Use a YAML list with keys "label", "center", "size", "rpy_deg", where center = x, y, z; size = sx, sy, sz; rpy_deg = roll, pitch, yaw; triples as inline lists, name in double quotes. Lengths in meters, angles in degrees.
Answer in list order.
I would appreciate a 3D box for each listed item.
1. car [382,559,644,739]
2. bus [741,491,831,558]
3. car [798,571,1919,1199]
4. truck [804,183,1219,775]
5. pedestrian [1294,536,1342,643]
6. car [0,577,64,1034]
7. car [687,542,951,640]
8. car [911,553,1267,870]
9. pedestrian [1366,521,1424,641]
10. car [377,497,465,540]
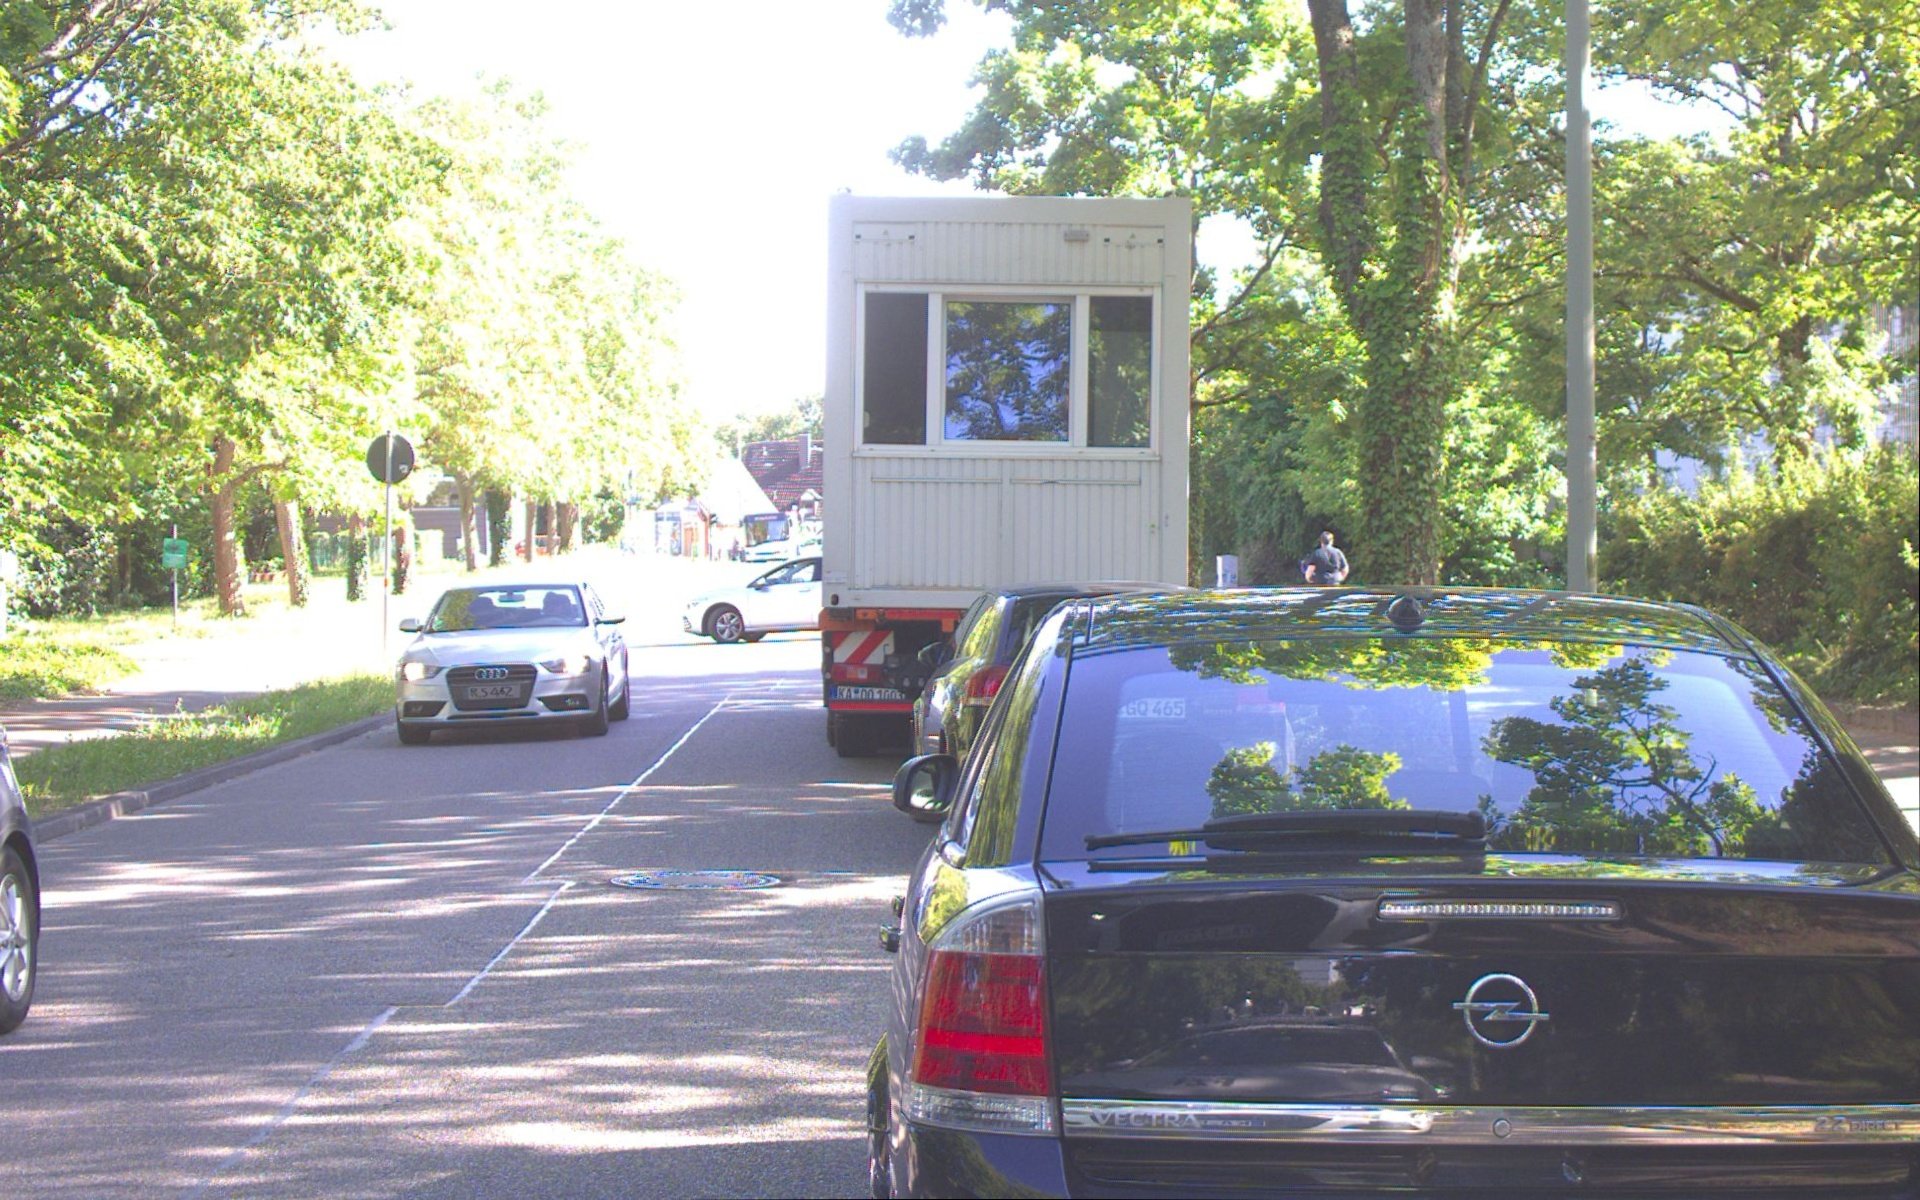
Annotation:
- label: "car"
  center: [-3.971, 0.390, 31.137]
  size: [1.786, 1.412, 4.105]
  rpy_deg: [-2, 1, 0]
- label: "bus"
  center: [-9.207, -4.039, 183.326]
  size: [4.065, 3.337, 9.801]
  rpy_deg: [-2, 1, 1]
- label: "car"
  center: [0.686, 0.690, 6.369]
  size: [1.748, 1.475, 4.030]
  rpy_deg: [0, 1, 1]
- label: "truck"
  center: [0.179, -0.927, 28.544]
  size: [2.772, 3.982, 10.349]
  rpy_deg: [1, 1, -2]
- label: "pedestrian"
  center: [5.477, -0.164, 52.608]
  size: [0.598, 1.605, 0.600]
  rpy_deg: [-2, 1, -4]
- label: "car"
  center: [-3.938, 0.724, 9.695]
  size: [1.755, 1.449, 4.243]
  rpy_deg: [-2, 1, -1]
- label: "car"
  center: [-2.302, -0.154, 56.645]
  size: [3.948, 1.415, 1.810]
  rpy_deg: [-2, 1, 13]
- label: "car"
  center: [0.642, 0.503, 18.325]
  size: [1.640, 1.415, 4.000]
  rpy_deg: [-2, 1, 1]
- label: "pedestrian"
  center: [6.662, -0.294, 52.684]
  size: [0.698, 1.806, 0.700]
  rpy_deg: [-2, 1, -4]
- label: "car"
  center: [-26.848, -4.060, 171.446]
  size: [3.987, 2.007, 2.000]
  rpy_deg: [-2, 1, 1]
